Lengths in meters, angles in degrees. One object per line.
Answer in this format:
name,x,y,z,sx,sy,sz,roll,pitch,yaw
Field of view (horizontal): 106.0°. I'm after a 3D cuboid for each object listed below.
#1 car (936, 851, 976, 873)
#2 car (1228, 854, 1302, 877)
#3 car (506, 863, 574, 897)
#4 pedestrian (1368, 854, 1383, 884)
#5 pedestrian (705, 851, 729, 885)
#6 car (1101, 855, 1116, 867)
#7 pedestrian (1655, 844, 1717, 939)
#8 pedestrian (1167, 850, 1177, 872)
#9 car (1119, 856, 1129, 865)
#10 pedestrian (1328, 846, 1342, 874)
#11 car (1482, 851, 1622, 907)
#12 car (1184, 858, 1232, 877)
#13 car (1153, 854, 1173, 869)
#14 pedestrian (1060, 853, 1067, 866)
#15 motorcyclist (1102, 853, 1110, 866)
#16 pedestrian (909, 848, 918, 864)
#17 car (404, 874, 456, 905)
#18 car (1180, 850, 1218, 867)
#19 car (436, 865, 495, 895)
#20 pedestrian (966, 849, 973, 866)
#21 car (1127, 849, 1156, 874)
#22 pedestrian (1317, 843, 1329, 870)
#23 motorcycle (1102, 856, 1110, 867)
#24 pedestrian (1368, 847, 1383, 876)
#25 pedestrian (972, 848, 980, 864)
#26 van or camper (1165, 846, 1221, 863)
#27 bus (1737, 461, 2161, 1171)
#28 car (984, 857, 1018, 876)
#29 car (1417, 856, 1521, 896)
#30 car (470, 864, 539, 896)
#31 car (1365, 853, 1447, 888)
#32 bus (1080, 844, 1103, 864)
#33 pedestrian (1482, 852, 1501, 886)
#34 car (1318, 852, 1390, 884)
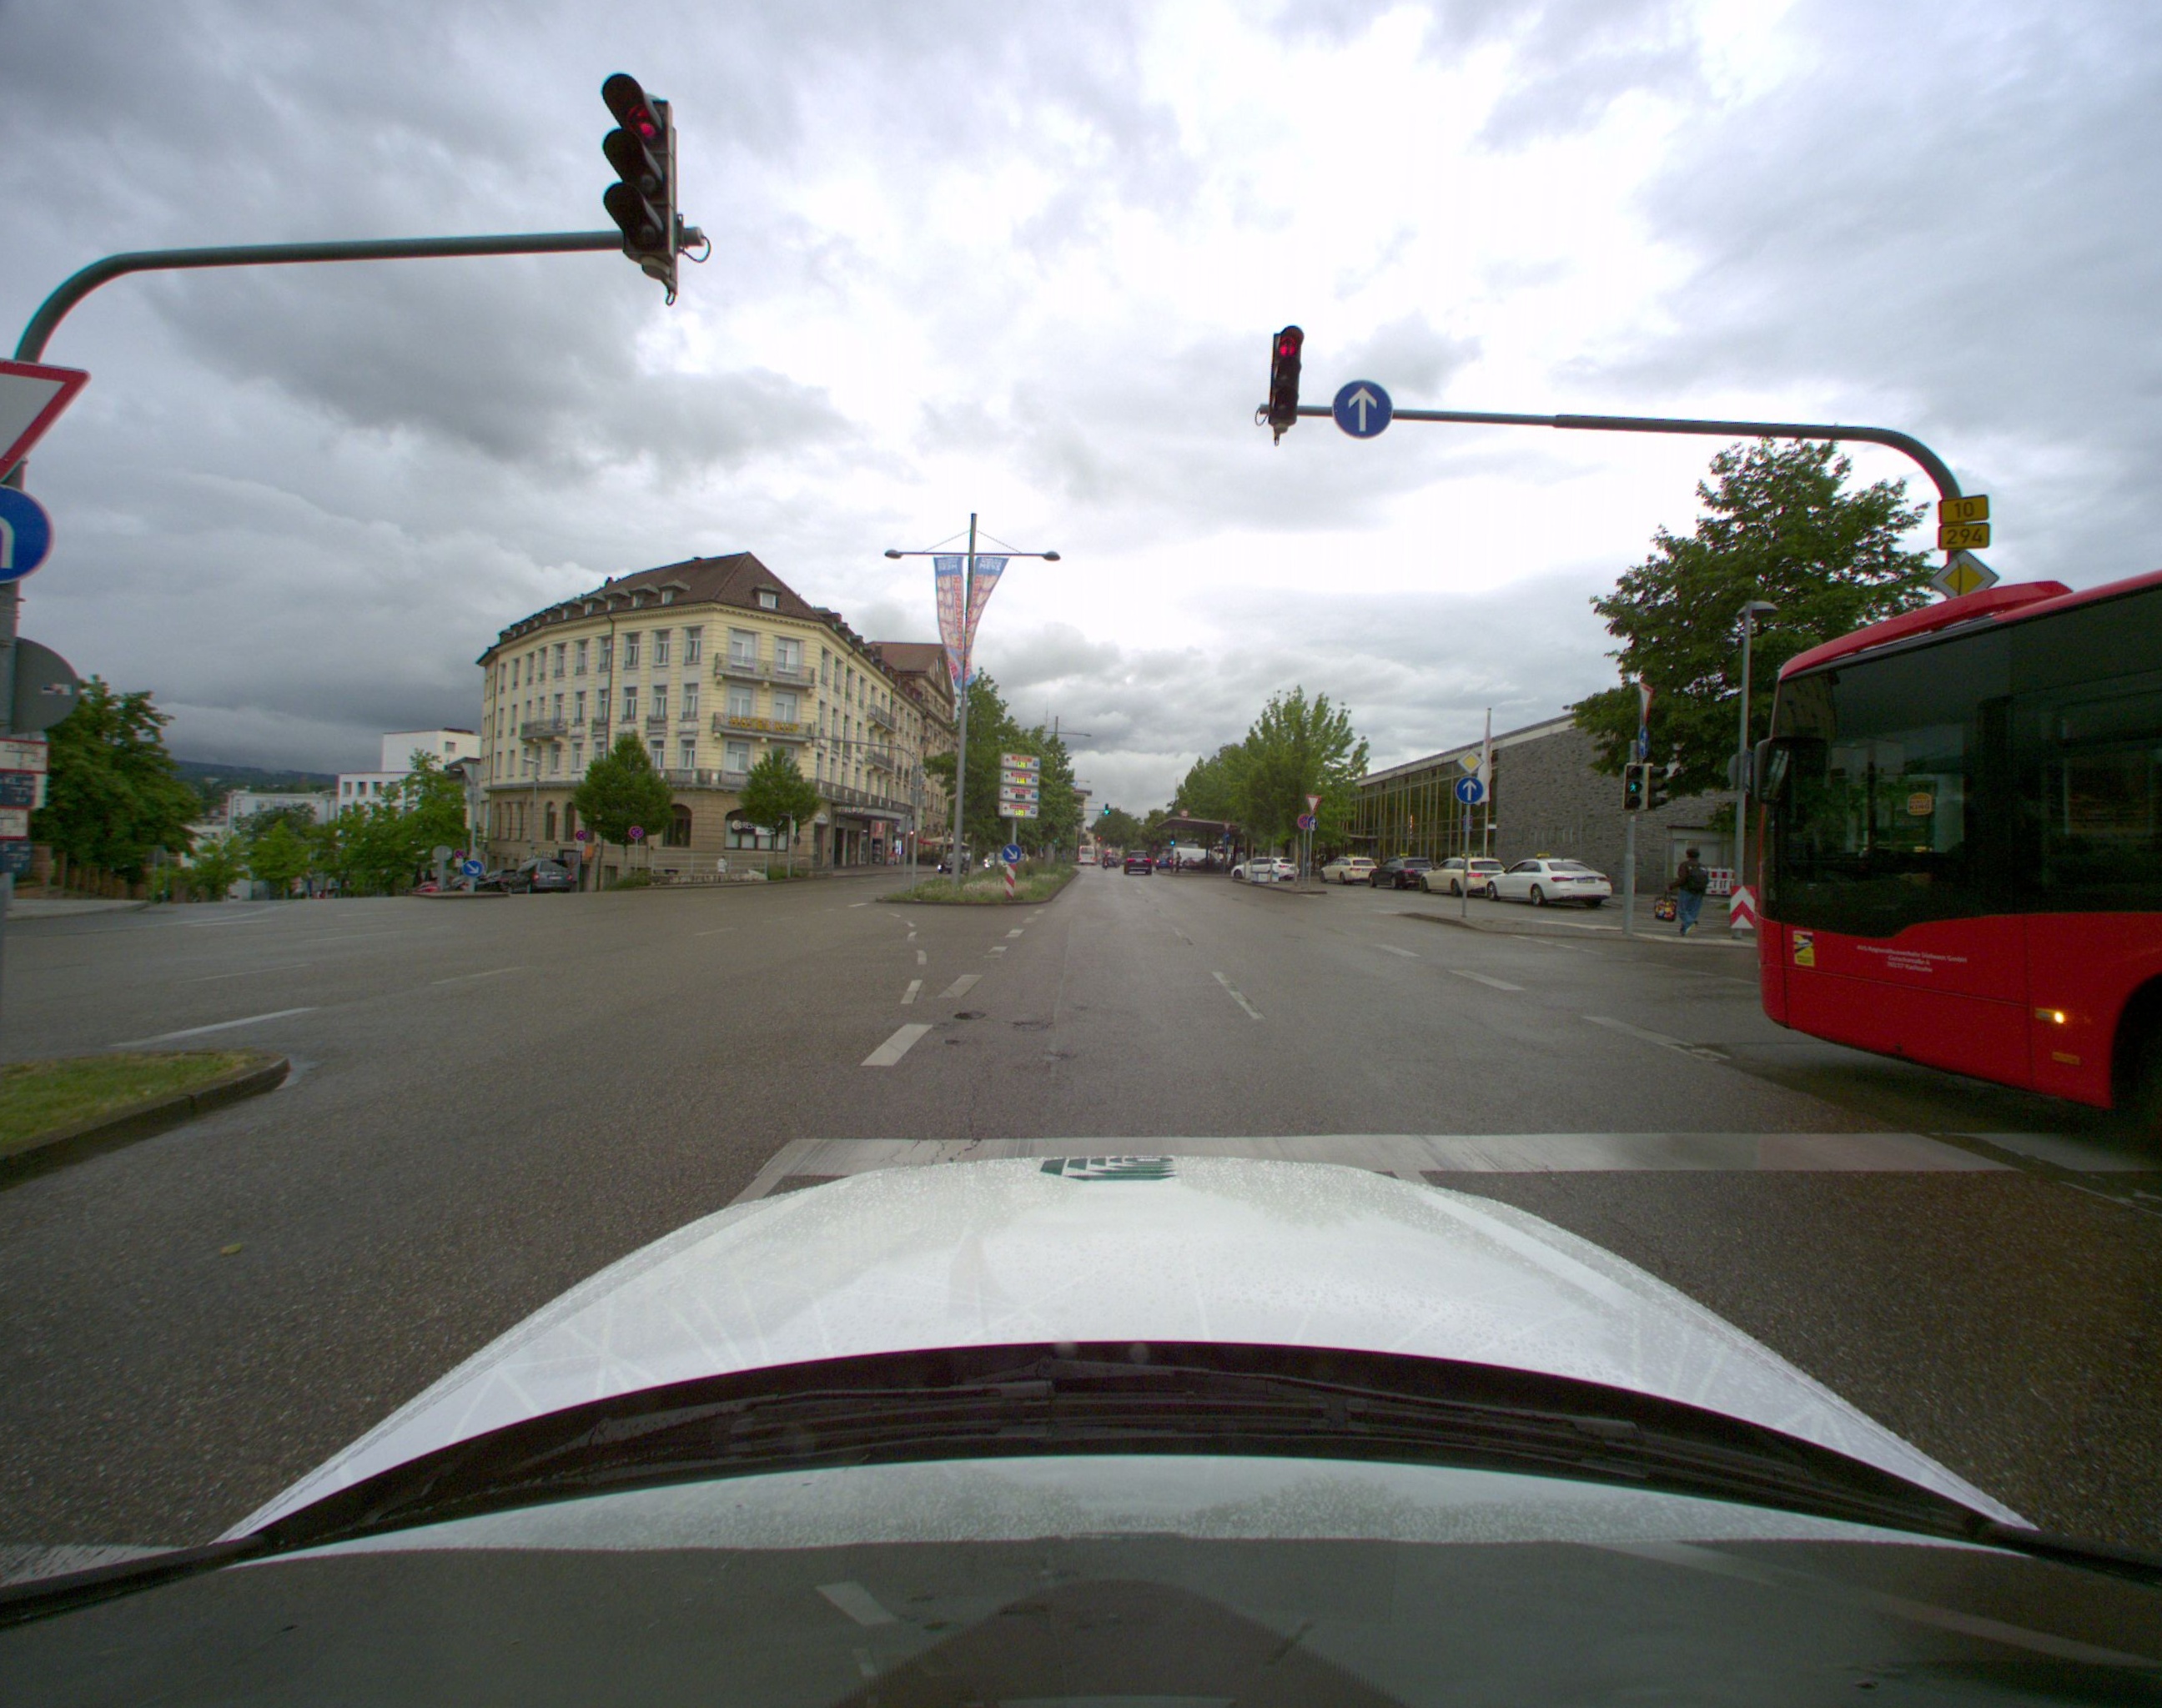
car,-9.300,0.579,60.716,1.761,1.530,4.089,0,0,9
car,11.481,0.713,50.992,1.788,1.385,4.318,0,0,-39
car,-27.098,1.273,40.779,3.949,1.568,1.812,0,0,41
pedestrian,17.125,0.864,47.367,0.563,1.710,0.715,1,0,-3
pedestrian,-20.641,0.780,46.142,0.860,1.878,1.023,0,0,1
car,3.318,0.838,98.414,1.702,1.448,4.001,0,0,2
pedestrian,10.938,0.656,14.752,0.800,1.674,0.717,0,0,28
pedestrian,7.433,0.595,66.566,0.717,1.791,0.663,0,0,-10
car,7.932,1.197,150.905,1.702,1.474,4.001,0,0,2
pedestrian,18.691,0.438,59.977,0.767,2.014,0.828,0,0,0
car,14.650,0.720,25.667,1.768,1.589,4.615,0,0,0
car,12.823,1.382,82.149,4.348,1.857,1.988,0,0,-18
car,8.561,0.753,85.386,1.809,1.530,4.001,0,0,2
pedestrian,-2.252,0.705,105.530,0.754,1.701,0.561,0,0,8
motorcyclist,2.535,0.524,81.253,0.761,1.331,0.867,0,0,2
pedestrian,-15.516,0.200,75.326,0.666,1.510,0.513,0,-1,-36
car,-41.185,2.212,51.501,3.575,1.812,1.788,0,0,38
car,14.025,0.488,96.518,3.998,2.013,1.988,0,0,-18
car,-36.309,1.494,48.041,3.864,1.640,1.805,0,0,37
pedestrian,-11.590,0.372,84.581,0.573,1.732,0.609,0,0,1
car,4.610,0.545,62.545,1.986,1.806,4.691,0,0,2
pedestrian,21.786,0.260,73.304,0.839,2.411,0.863,0,0,3
motorcycle,2.529,0.769,81.150,0.763,1.077,2.176,0,0,2
pedestrian,20.349,0.504,56.236,0.767,2.014,0.828,0,0,0
pedestrian,-10.901,0.182,84.573,0.672,1.701,0.634,0,-1,1
van or camper,14.153,0.078,102.670,6.787,2.014,2.366,0,-1,-25
bus,6.117,-0.174,0.974,2.732,3.174,10.198,0,0,2
car,-6.072,0.908,62.192,1.716,1.381,4.866,0,0,5
car,14.789,0.786,31.386,1.840,1.452,4.666,0,0,0
car,-31.967,1.417,45.119,3.948,1.640,2.013,-1,-1,37
car,14.887,0.709,37.612,1.907,1.524,4.741,0,0,0
bus,1.773,0.044,142.277,3.748,3.209,15.522,0,0,0
pedestrian,20.302,0.722,40.302,0.563,1.646,0.715,0,0,-3
car,14.684,0.711,44.106,1.990,1.600,4.814,0,0,-5
